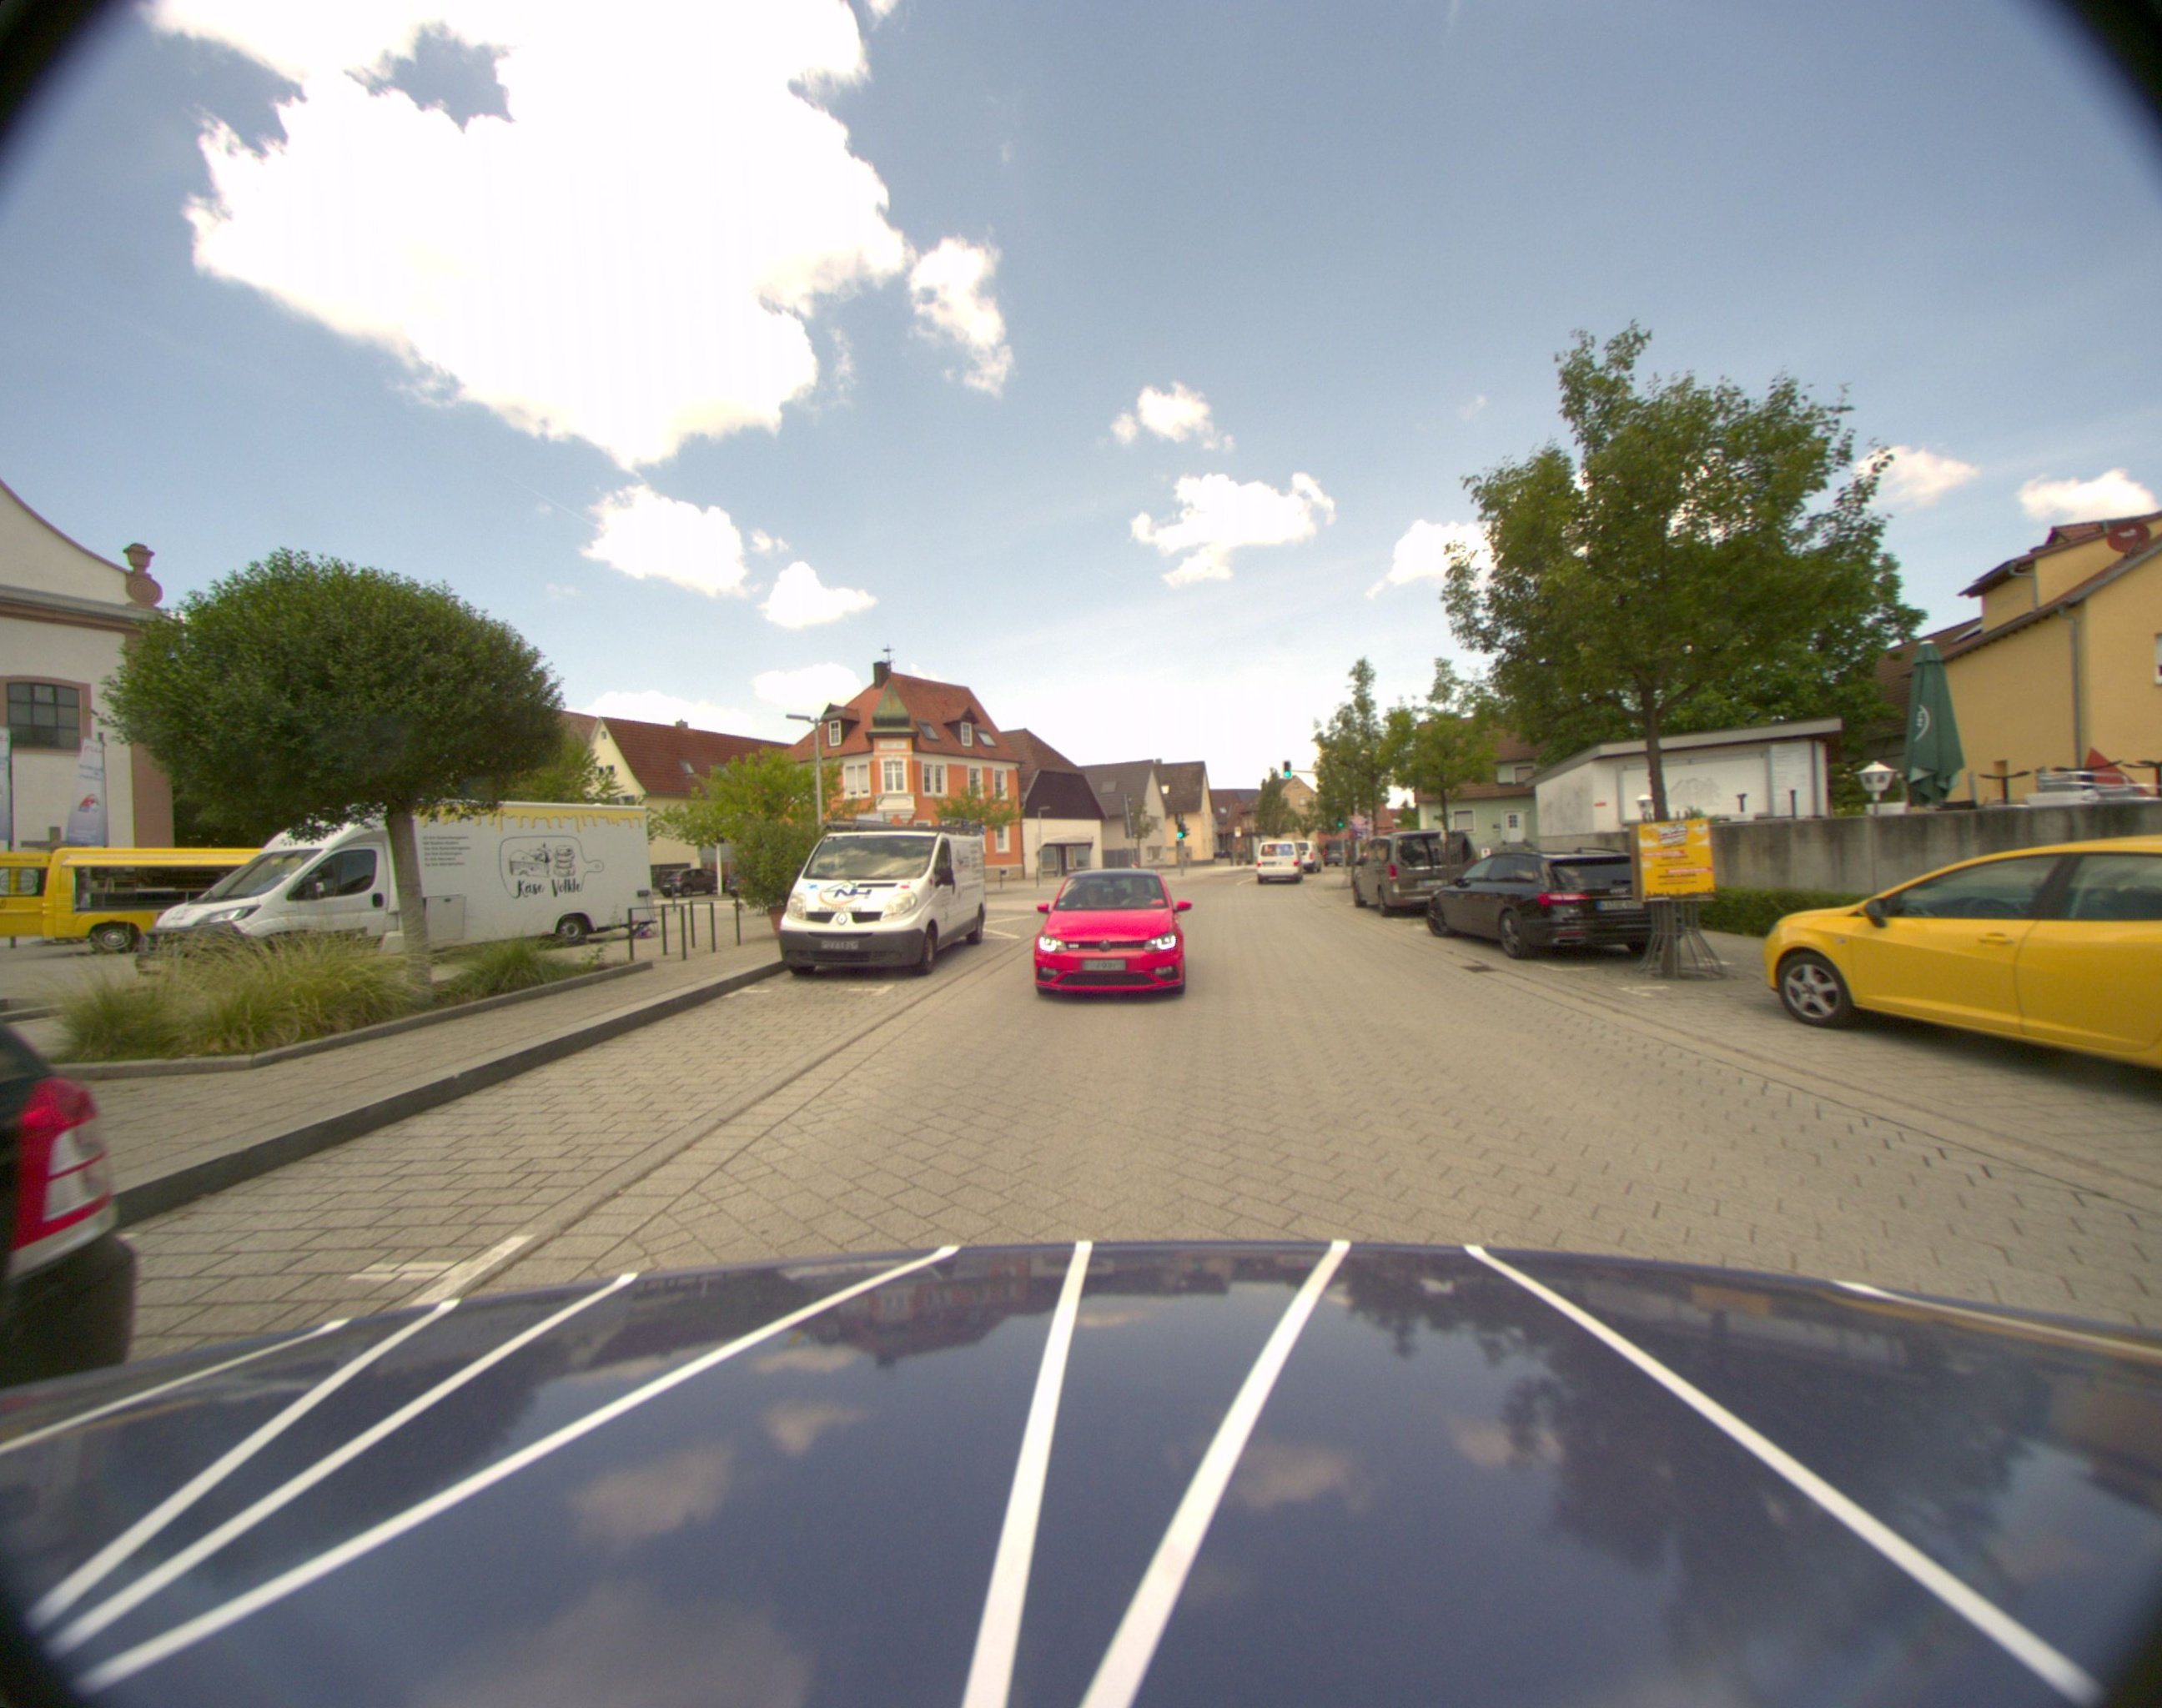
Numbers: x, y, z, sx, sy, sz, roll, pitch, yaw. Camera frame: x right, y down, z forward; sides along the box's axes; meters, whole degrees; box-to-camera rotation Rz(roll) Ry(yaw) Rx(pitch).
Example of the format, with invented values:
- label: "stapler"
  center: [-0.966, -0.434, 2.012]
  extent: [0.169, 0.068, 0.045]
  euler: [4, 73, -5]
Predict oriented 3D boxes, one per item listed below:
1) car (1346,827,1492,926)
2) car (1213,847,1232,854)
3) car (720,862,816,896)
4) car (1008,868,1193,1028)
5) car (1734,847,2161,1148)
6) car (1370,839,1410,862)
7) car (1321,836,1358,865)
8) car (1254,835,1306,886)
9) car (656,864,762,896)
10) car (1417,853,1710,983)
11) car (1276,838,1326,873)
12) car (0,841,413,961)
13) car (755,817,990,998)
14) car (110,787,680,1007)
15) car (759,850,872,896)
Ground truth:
- label: "car"
  center: [7.821, 0.449, 18.139]
  extent: [1.990, 1.979, 5.048]
  euler: [-3, 0, 11]
- label: "car"
  center: [23.142, -0.619, 124.313]
  extent: [1.804, 1.053, 3.996]
  euler: [-2, 0, -10]
- label: "car"
  center: [-16.101, 1.262, 39.375]
  extent: [1.621, 1.475, 4.729]
  euler: [-3, 0, 24]
- label: "car"
  center: [0.206, 0.979, 9.547]
  extent: [1.782, 1.404, 3.887]
  euler: [-3, 1, 0]
- label: "car"
  center: [6.352, 0.721, 4.541]
  extent: [1.672, 1.466, 3.964]
  euler: [-2, 0, 4]
- label: "car"
  center: [22.462, -0.285, 55.151]
  extent: [1.733, 1.482, 4.508]
  euler: [-2, 1, 34]
- label: "car"
  center: [19.324, -0.281, 56.640]
  extent: [1.660, 2.002, 4.007]
  euler: [-2, 1, 32]
- label: "car"
  center: [9.377, 0.256, 35.572]
  extent: [1.890, 2.173, 5.036]
  euler: [-2, 1, 19]
- label: "car"
  center: [-20.658, 1.405, 42.478]
  extent: [1.995, 1.433, 5.133]
  euler: [-3, 0, 24]
- label: "car"
  center: [6.570, 0.754, 11.056]
  extent: [1.819, 1.415, 4.539]
  euler: [-3, 0, 8]
- label: "car"
  center: [13.270, 0.063, 45.565]
  extent: [1.995, 1.869, 4.874]
  euler: [-2, 0, 26]
- label: "car"
  center: [-22.060, 1.029, 19.711]
  extent: [6.977, 2.463, 2.646]
  euler: [-3, 1, -41]
- label: "car"
  center: [-2.811, 0.630, 11.652]
  extent: [1.947, 2.165, 5.101]
  euler: [-1, 1, 3]
- label: "car"
  center: [-11.504, 0.551, 13.946]
  extent: [2.756, 2.946, 7.122]
  euler: [-3, 1, 20]
- label: "car"
  center: [-13.160, 0.881, 38.109]
  extent: [1.995, 2.002, 5.503]
  euler: [-3, 0, 24]
